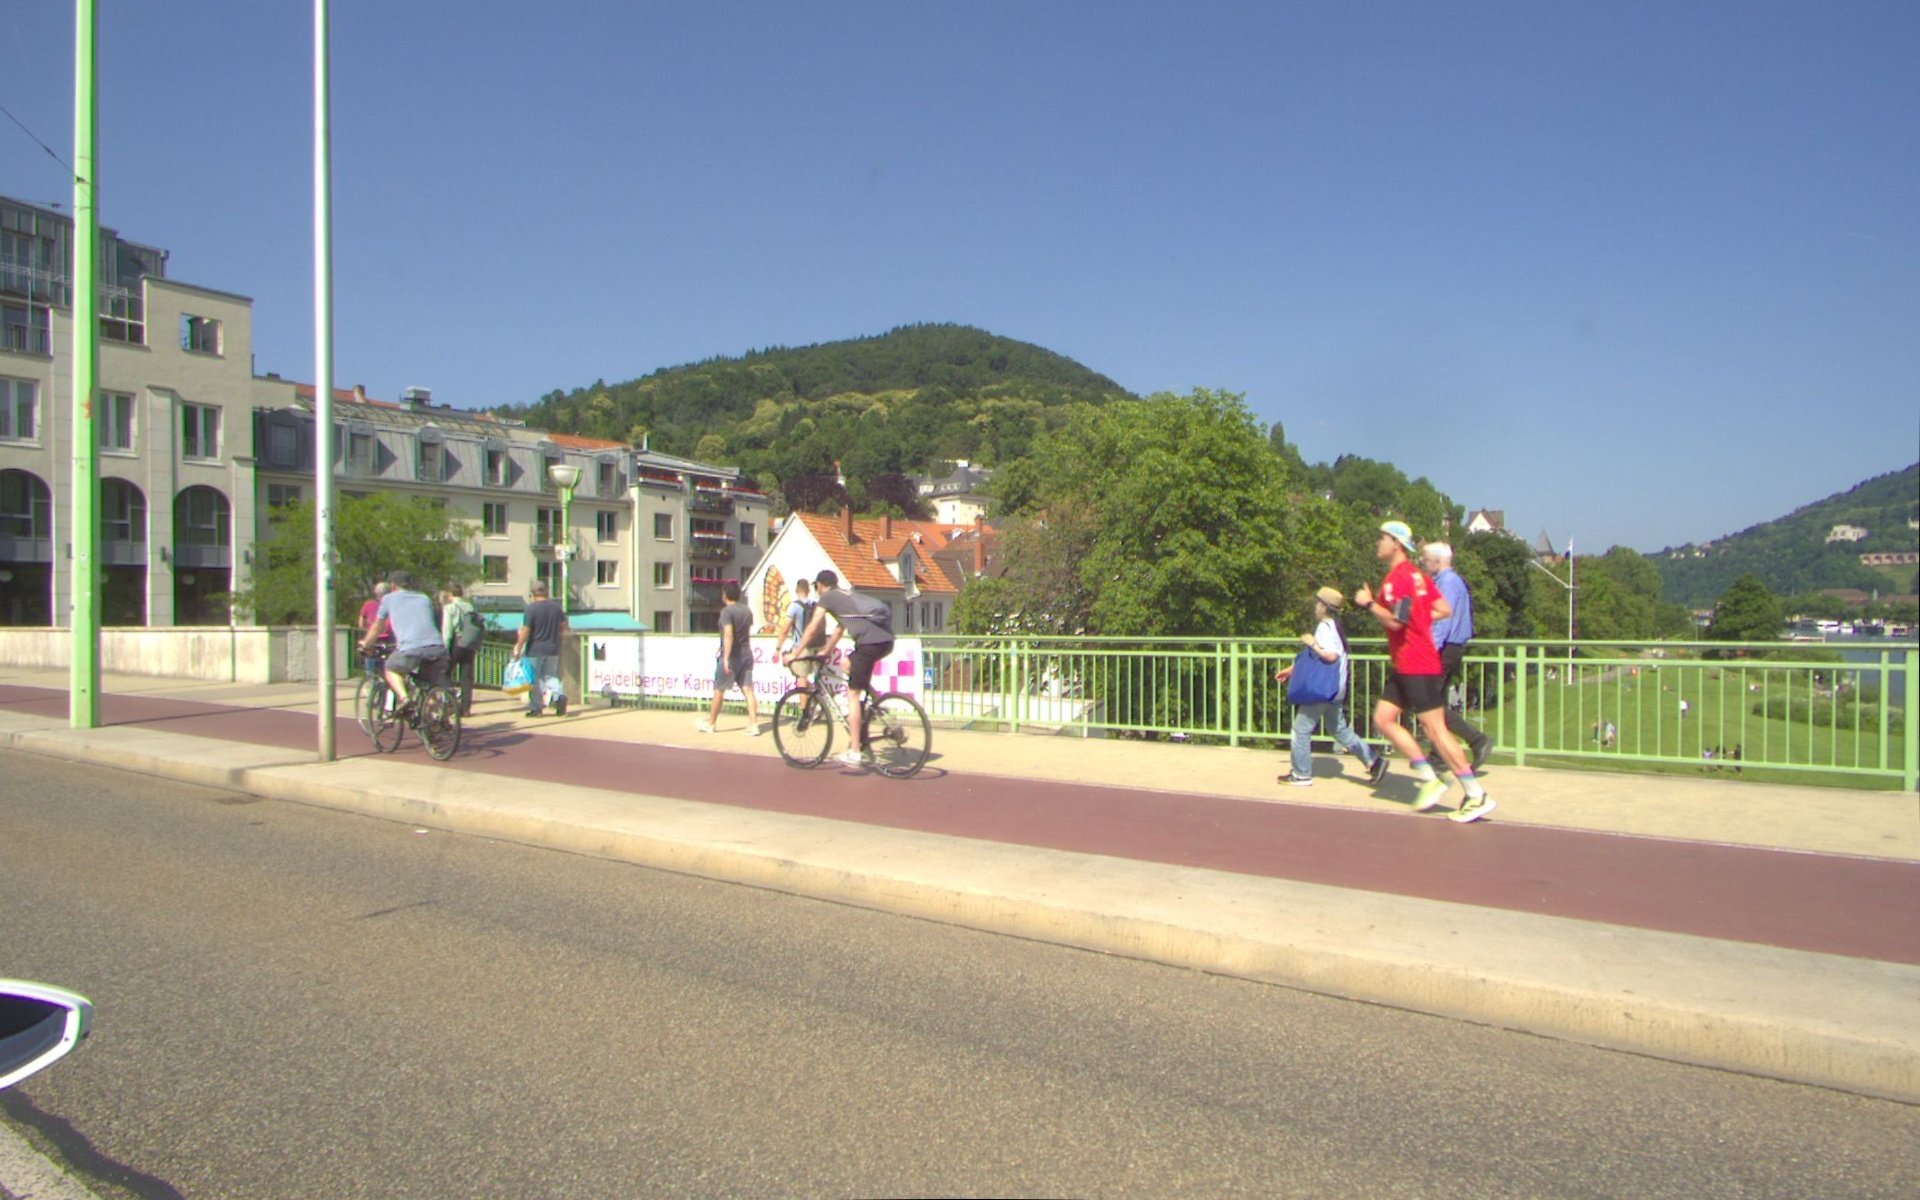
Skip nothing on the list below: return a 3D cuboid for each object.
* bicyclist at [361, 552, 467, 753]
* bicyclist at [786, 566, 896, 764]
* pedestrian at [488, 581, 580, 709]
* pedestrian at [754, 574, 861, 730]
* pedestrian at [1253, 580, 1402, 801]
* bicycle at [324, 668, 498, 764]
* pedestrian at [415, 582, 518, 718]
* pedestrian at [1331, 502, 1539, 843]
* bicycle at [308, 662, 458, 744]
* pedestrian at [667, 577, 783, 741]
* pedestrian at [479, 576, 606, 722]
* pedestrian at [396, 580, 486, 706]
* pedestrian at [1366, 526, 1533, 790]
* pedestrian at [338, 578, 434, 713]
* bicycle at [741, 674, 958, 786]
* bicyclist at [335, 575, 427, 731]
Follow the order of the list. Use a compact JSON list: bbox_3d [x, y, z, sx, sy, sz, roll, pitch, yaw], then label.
[{"bbox_3d":[-5.241,0.486,9.620,0.691,1.844,0.586,0,1,30],"label":"bicyclist"},{"bbox_3d":[-0.995,0.523,8.426,0.691,1.579,0.586,0,1,30],"label":"bicyclist"},{"bbox_3d":[-6.089,0.619,14.321,1.001,1.770,0.737,0,2,32],"label":"pedestrian"},{"bbox_3d":[-1.788,0.589,11.775,1.001,1.741,0.738,0,1,32],"label":"pedestrian"},{"bbox_3d":[2.811,0.635,7.623,0.919,1.550,0.827,0,2,32],"label":"pedestrian"},{"bbox_3d":[-5.316,1.089,9.670,1.838,0.776,0.593,-1,1,30],"label":"bicycle"},{"bbox_3d":[-6.600,0.644,13.404,1.057,1.741,0.753,0,2,32],"label":"pedestrian"},{"bbox_3d":[3.027,0.421,6.365,1.111,1.950,0.809,0,1,32],"label":"pedestrian"},{"bbox_3d":[-6.432,1.115,11.136,1.838,0.776,0.593,-1,1,30],"label":"bicycle"},{"bbox_3d":[-2.621,0.622,11.186,1.001,1.741,0.737,0,2,32],"label":"pedestrian"},{"bbox_3d":[-5.436,0.607,13.056,1.190,1.801,0.975,0,2,32],"label":"pedestrian"},{"bbox_3d":[-7.677,0.612,14.811,1.001,1.801,0.737,0,2,32],"label":"pedestrian"},{"bbox_3d":[3.911,0.425,7.981,1.120,1.923,0.924,0,1,32],"label":"pedestrian"},{"bbox_3d":[-8.071,0.615,14.083,1.001,1.826,0.737,0,2,32],"label":"pedestrian"},{"bbox_3d":[-0.948,1.051,8.418,1.804,0.776,0.593,-1,1,30],"label":"bicycle"},{"bbox_3d":[-6.426,0.568,11.121,0.691,1.672,0.586,0,1,30],"label":"bicyclist"}]
